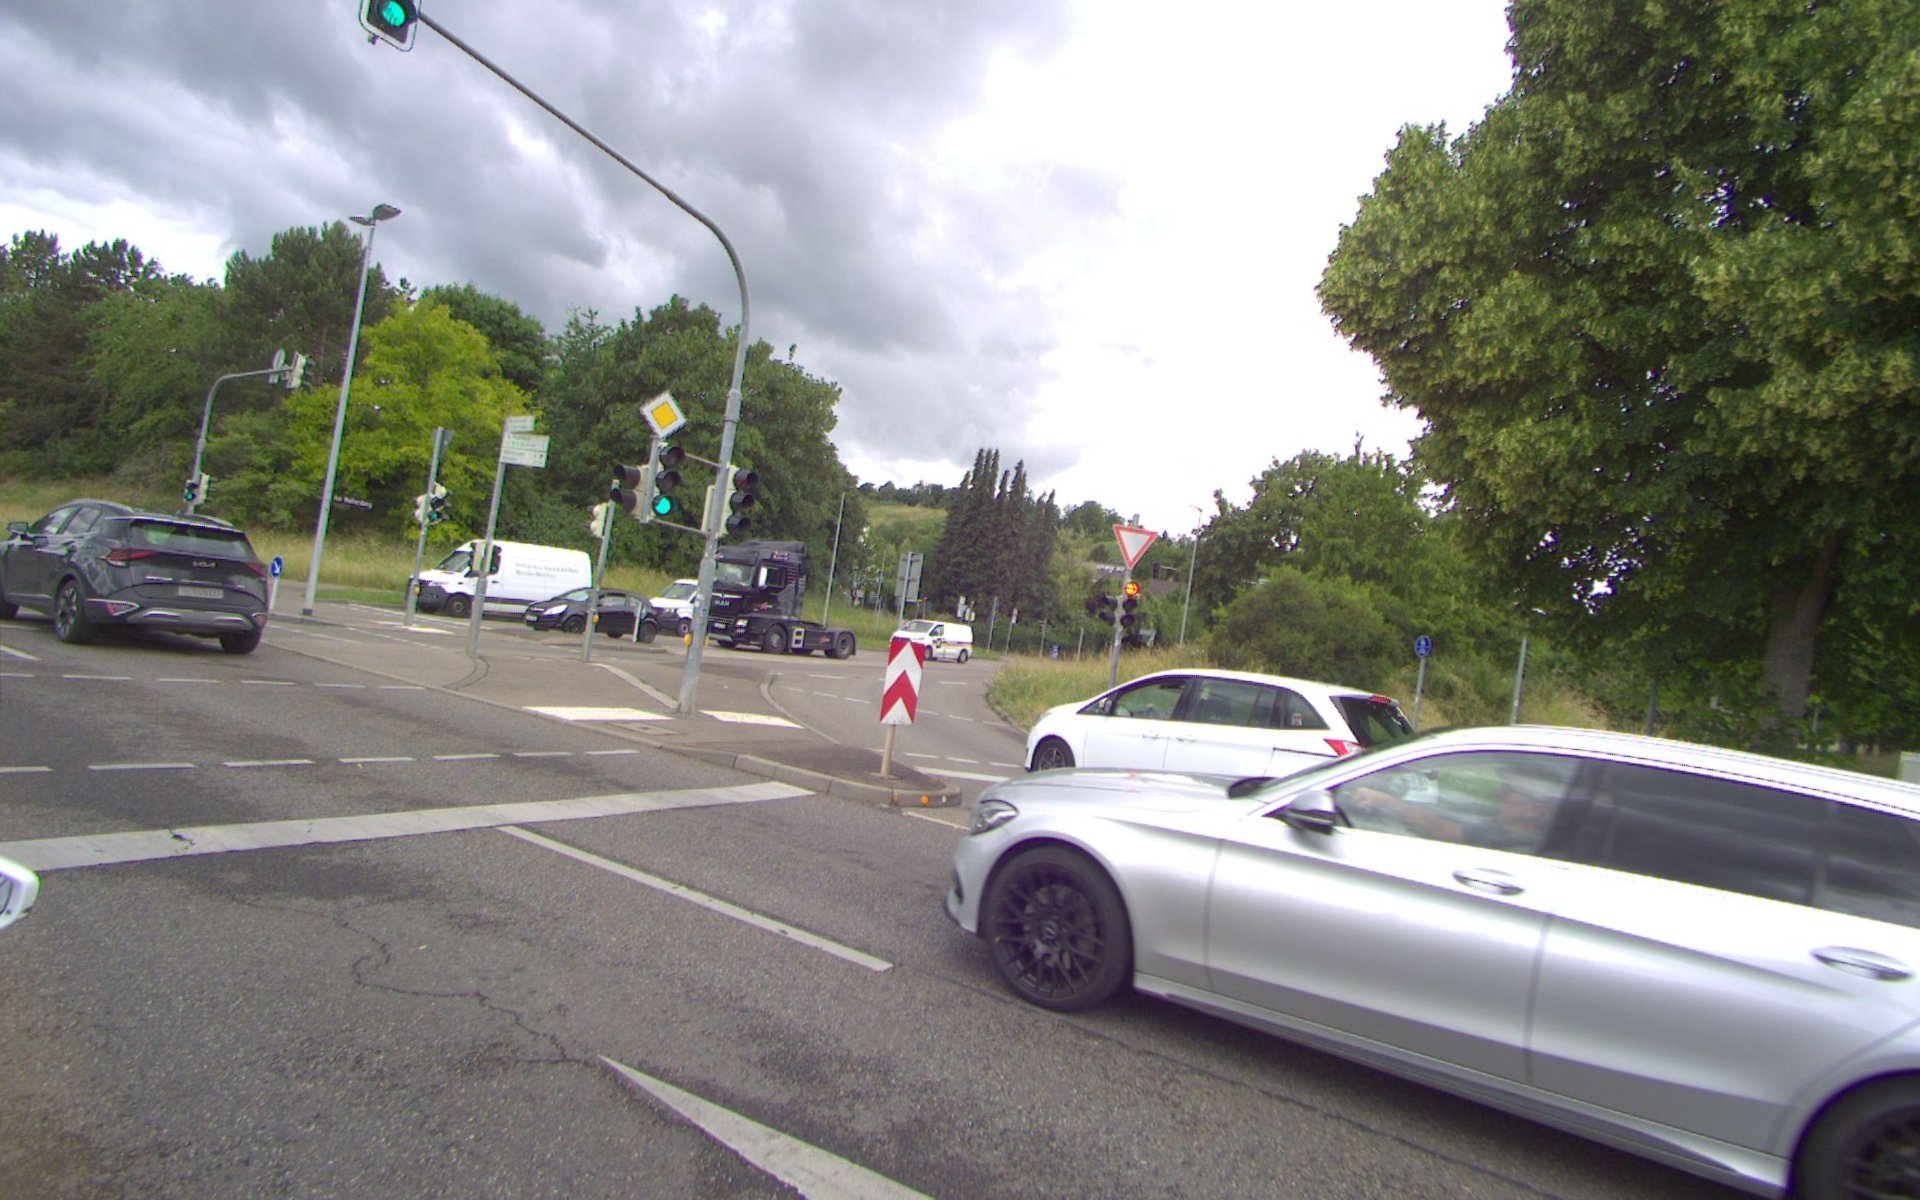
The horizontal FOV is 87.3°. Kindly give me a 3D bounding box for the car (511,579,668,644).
[{"bbox_3d":[-10.555,0.374,28.902,1.669,1.353,3.882,6,-3,34],"label":"car"}]

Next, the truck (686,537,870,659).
[{"bbox_3d":[-6.260,0.026,35.433,2.648,3.527,6.004,6,-1,34],"label":"truck"}]

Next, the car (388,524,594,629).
[{"bbox_3d":[-15.398,-0.677,33.470,1.968,2.660,5.814,6,-2,34],"label":"car"}]

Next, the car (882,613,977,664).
[{"bbox_3d":[-1.408,1.945,49.345,1.968,1.927,4.952,6,-2,34],"label":"car"}]

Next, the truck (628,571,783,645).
[{"bbox_3d":[-10.245,0.390,41.079,2.128,2.255,6.028,6,-2,35],"label":"truck"}]

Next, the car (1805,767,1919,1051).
[{"bbox_3d":[7.000,2.004,5.448,3.511,1.521,1.605,6,-5,38],"label":"car"}]

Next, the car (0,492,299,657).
[{"bbox_3d":[-10.320,-0.352,12.523,4.149,1.547,1.797,6,-2,32],"label":"car"}]

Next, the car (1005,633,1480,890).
[{"bbox_3d":[2.602,1.453,10.248,1.751,1.674,4.324,9,-2,-38],"label":"car"}]

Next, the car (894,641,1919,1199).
[{"bbox_3d":[2.080,1.198,4.163,4.327,1.467,1.774,6,-2,31],"label":"car"}]
